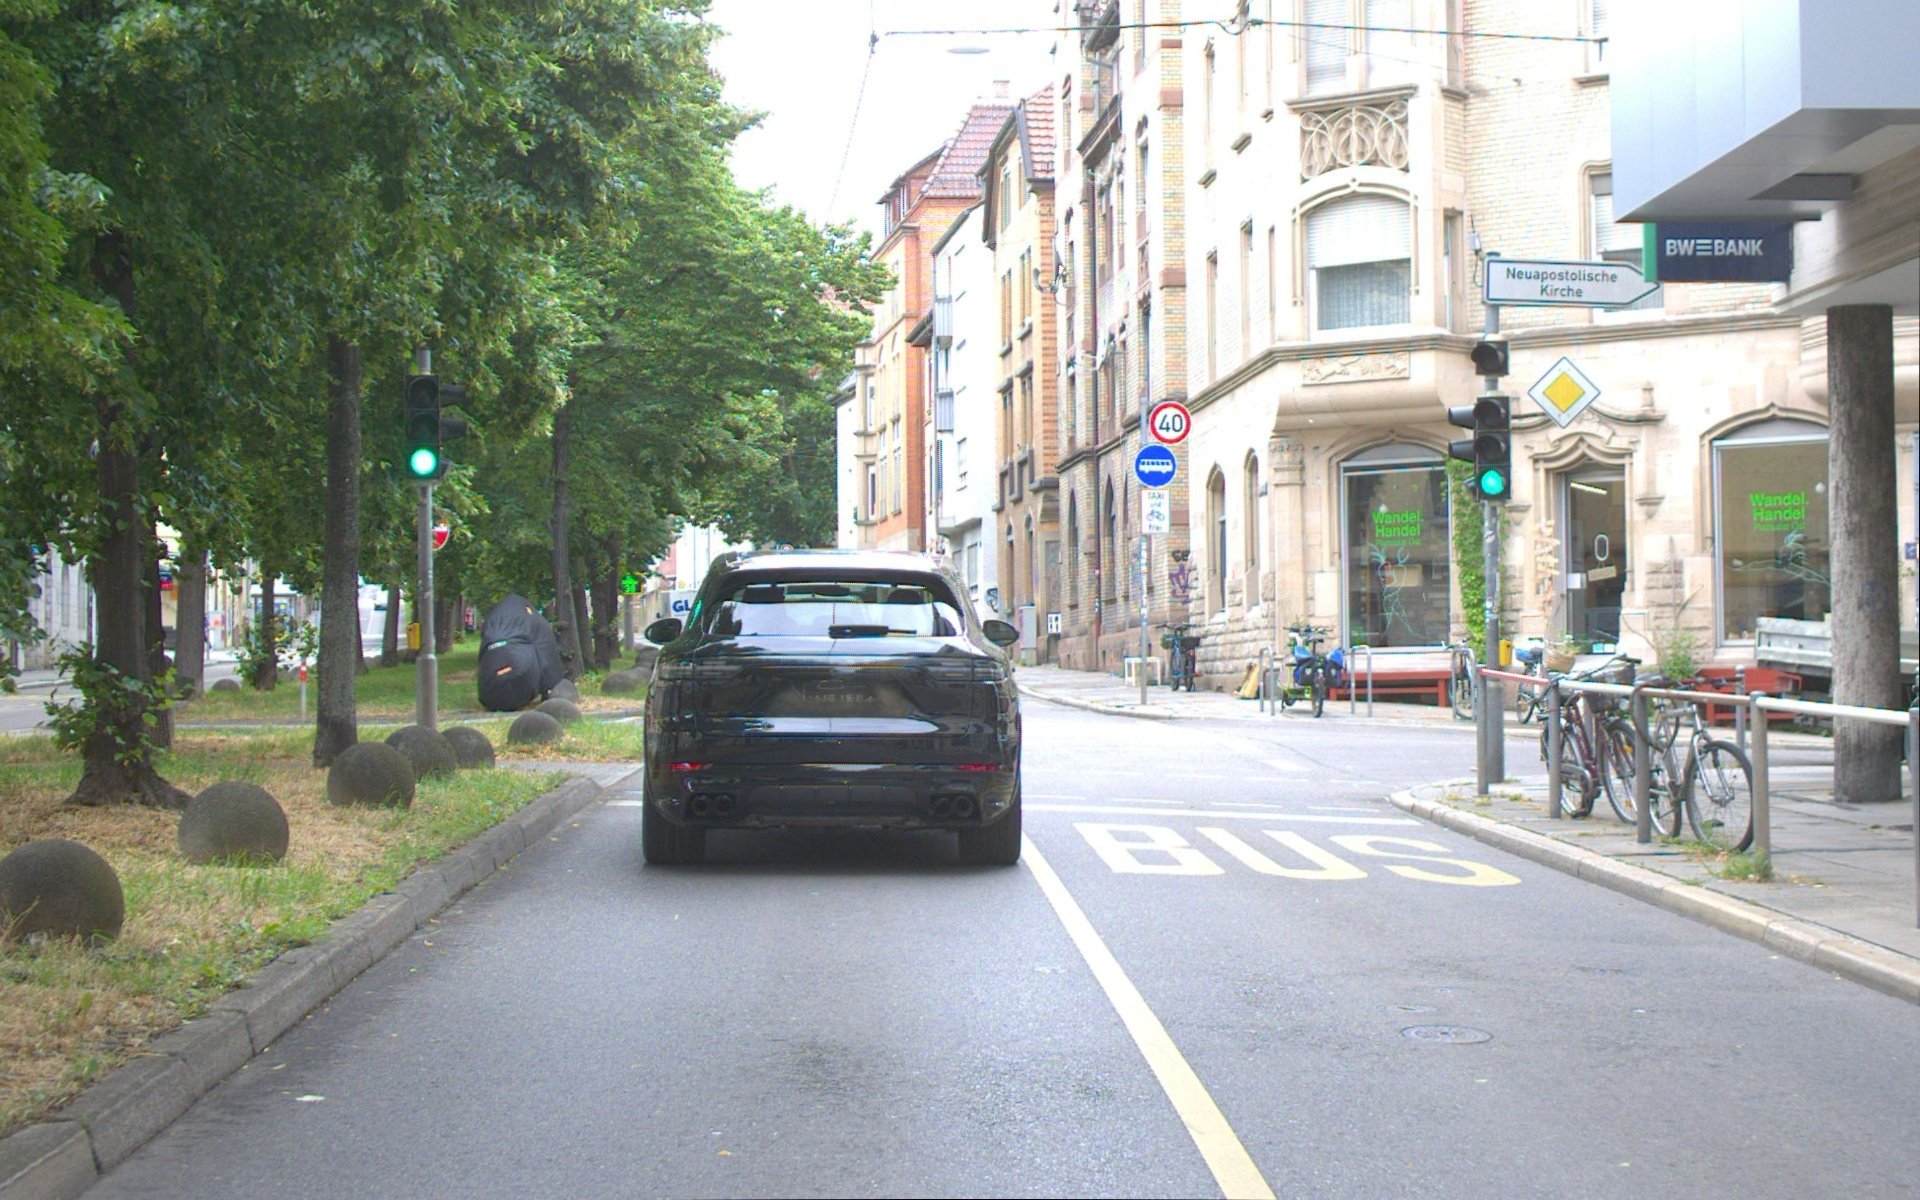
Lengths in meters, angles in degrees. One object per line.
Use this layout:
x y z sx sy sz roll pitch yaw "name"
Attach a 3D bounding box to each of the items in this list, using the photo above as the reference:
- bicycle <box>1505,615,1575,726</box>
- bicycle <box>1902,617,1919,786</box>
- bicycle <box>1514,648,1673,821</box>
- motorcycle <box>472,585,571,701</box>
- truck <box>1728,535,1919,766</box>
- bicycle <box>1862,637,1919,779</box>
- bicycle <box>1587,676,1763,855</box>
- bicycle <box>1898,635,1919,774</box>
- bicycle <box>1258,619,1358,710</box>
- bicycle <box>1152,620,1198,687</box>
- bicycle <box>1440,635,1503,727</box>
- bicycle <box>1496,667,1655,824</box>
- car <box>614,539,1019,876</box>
7.067 0.847 41.945 0.446 1.157 1.835 -1 5 -3 "bicycle"
7.302 0.715 23.742 0.318 1.194 1.761 1 -1 -33 "bicycle"
4.016 0.834 21.888 0.286 1.051 1.761 0 -1 -14 "bicycle"
-5.684 0.558 44.672 1.019 1.441 2.247 -2 -1 -2 "motorcycle"
10.664 0.542 33.699 5.558 2.126 2.382 2 0 -11 "truck"
7.232 0.795 25.097 0.318 1.040 1.761 1 -1 -19 "bicycle"
3.978 0.901 19.232 0.569 0.928 1.775 0 -1 -1 "bicycle"
7.527 0.782 25.204 0.318 1.040 1.761 1 -1 -19 "bicycle"
4.423 0.806 43.907 0.879 1.125 2.979 0 -1 -2 "bicycle"
3.434 0.860 55.043 0.446 1.033 2.248 -1 -1 -3 "bicycle"
6.274 0.981 42.227 0.349 1.055 1.834 2 0 -3 "bicycle"
3.842 0.892 21.567 0.286 0.928 1.761 0 -1 -14 "bicycle"
-0.782 0.526 19.006 1.993 1.660 4.000 0 0 -2 "car"
